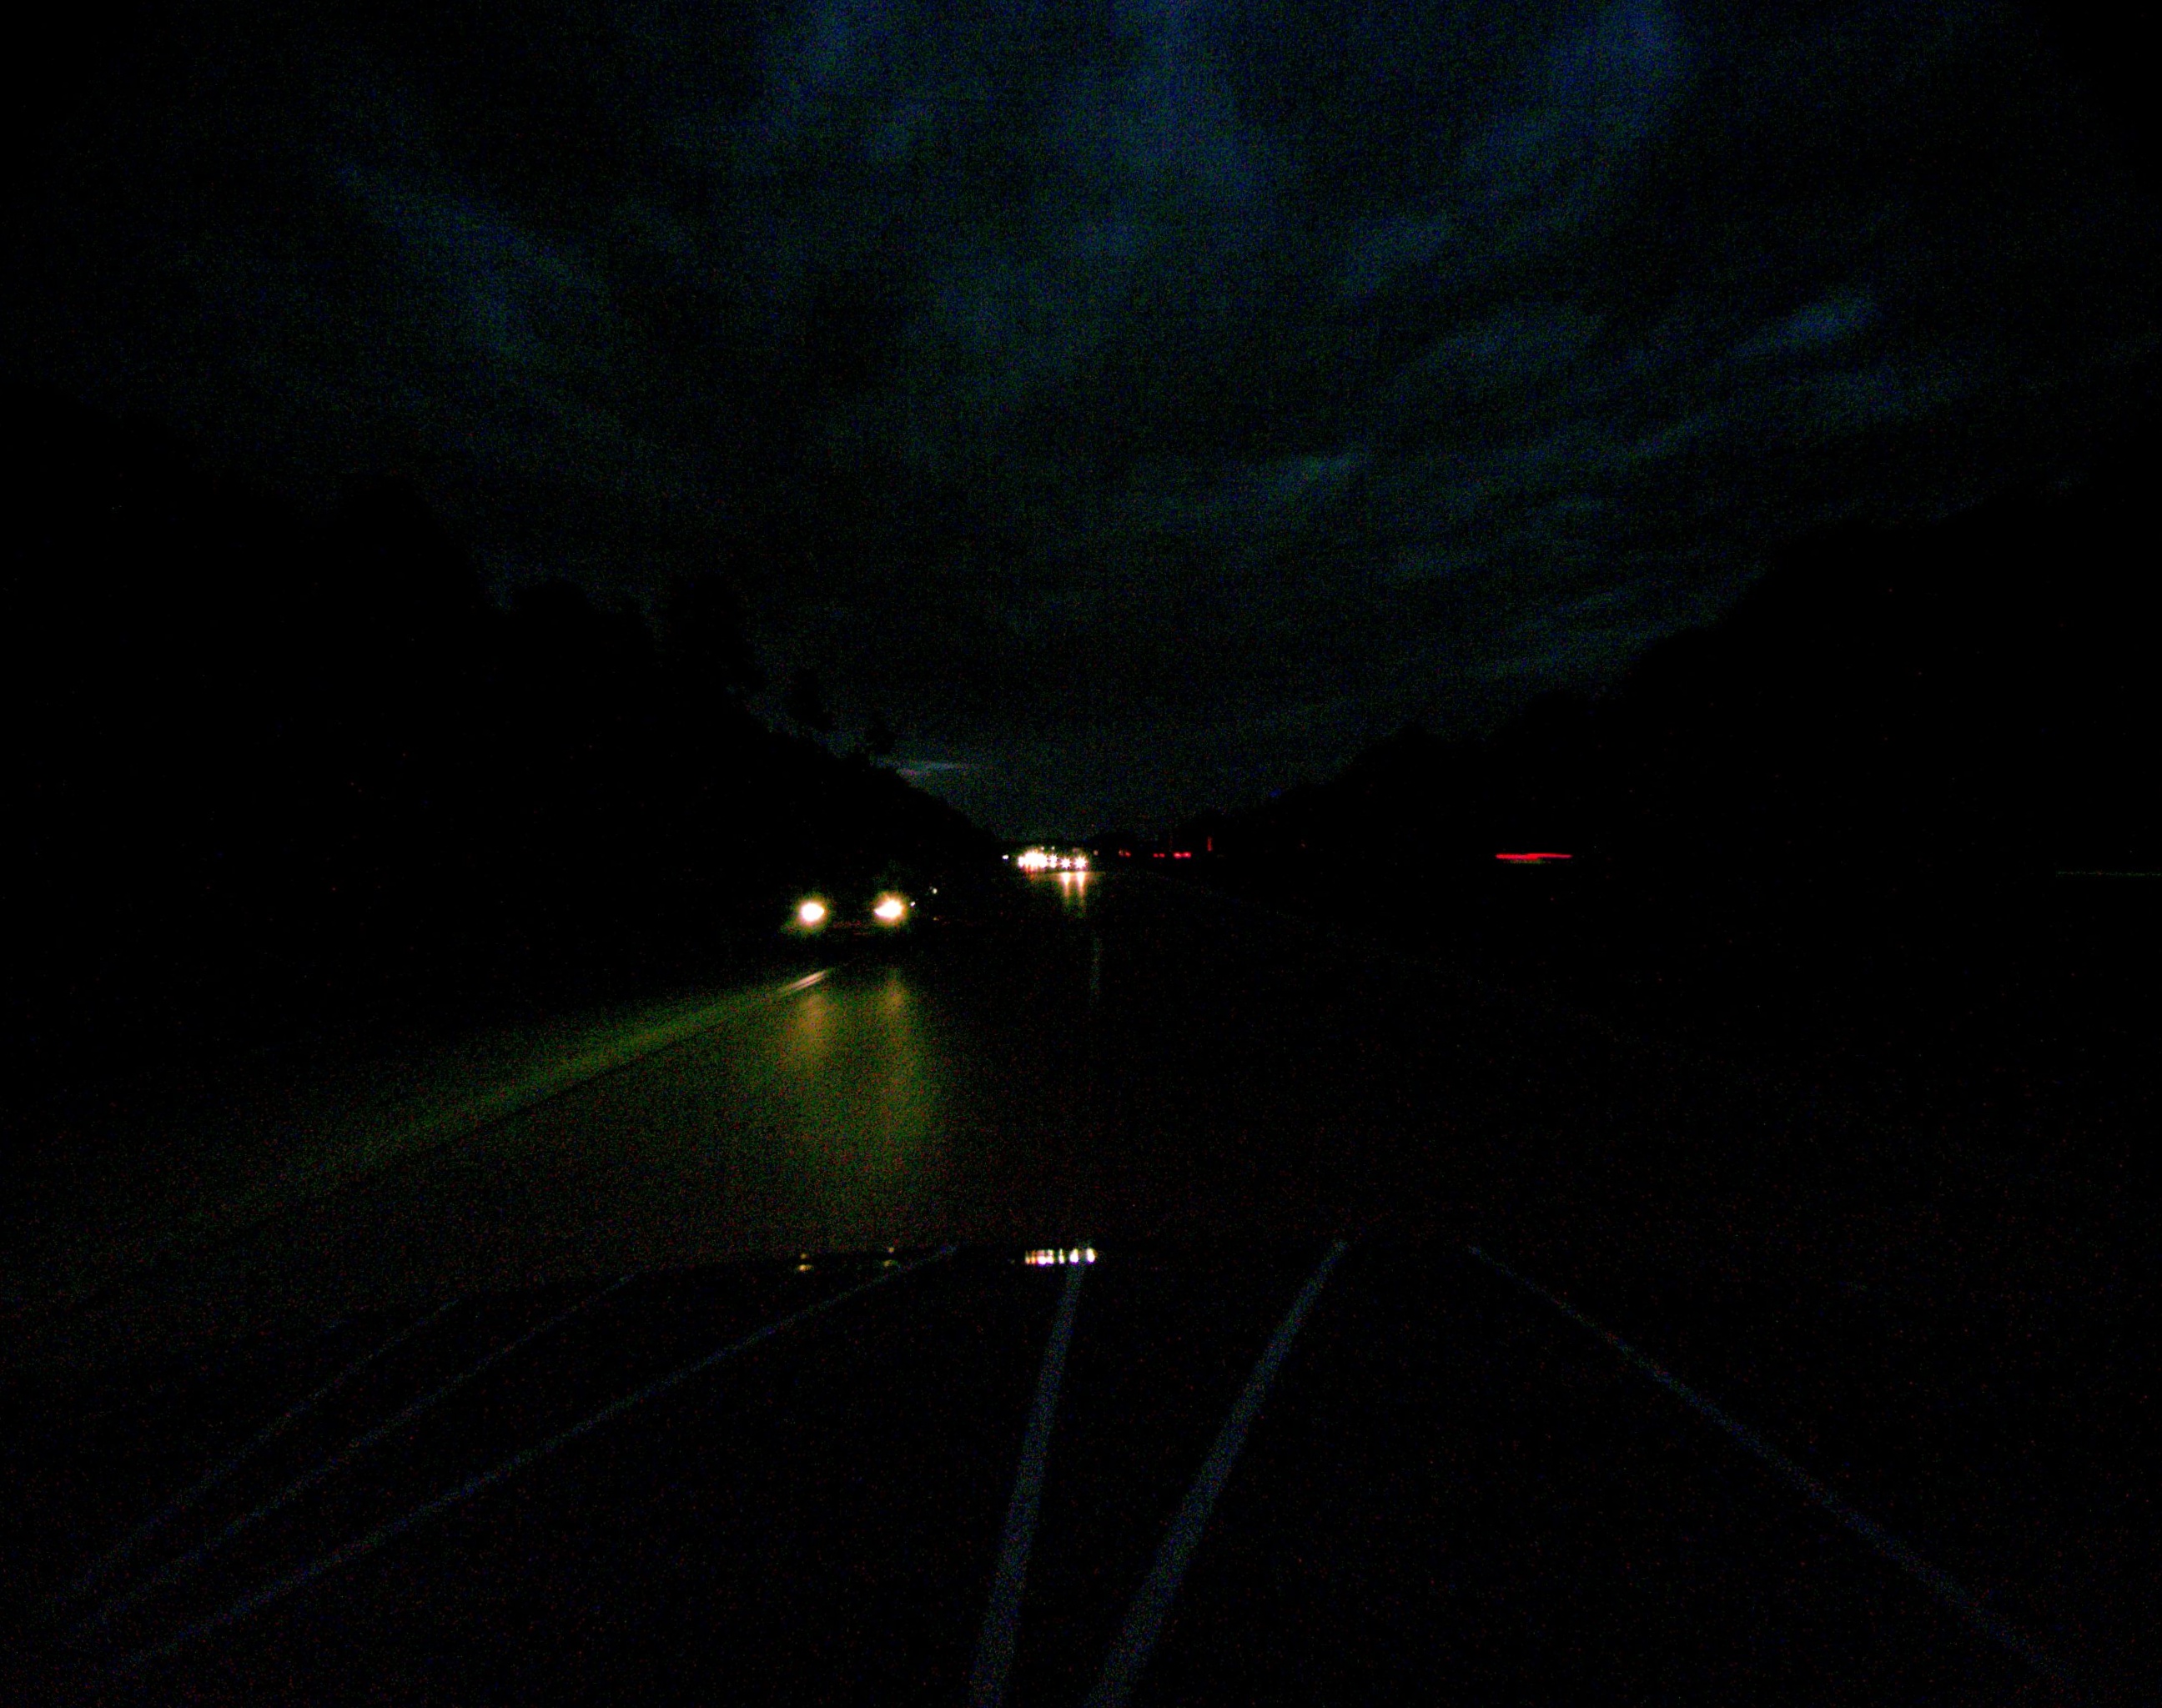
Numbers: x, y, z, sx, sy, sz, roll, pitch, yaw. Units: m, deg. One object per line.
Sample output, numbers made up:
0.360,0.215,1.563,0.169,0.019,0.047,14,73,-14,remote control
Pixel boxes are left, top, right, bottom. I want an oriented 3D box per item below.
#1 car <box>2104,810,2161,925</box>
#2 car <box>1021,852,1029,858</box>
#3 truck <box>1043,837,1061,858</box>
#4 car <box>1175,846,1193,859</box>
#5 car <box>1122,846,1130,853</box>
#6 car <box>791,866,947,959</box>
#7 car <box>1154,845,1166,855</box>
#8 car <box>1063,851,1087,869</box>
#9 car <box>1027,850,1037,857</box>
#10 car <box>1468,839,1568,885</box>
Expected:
17.777,0.189,10.280,1.998,1.787,4.372,-2,0,0,car
-15.175,0.180,206.556,1.998,1.539,4.000,-2,0,0,car
-5.820,-1.250,154.417,3.145,3.987,10.543,-2,0,0,truck
15.119,-0.175,111.786,1.998,1.787,4.206,-2,0,0,car
13.532,-1.381,230.944,1.999,2.213,4.372,-2,0,-2,car
-3.960,1.021,15.005,1.880,1.435,4.450,-2,0,-1,car
17.402,-0.853,168.145,1.999,2.142,4.372,-2,0,-2,car
-0.540,0.564,72.019,1.998,1.539,4.000,-2,0,2,car
-11.315,-0.024,174.212,1.998,1.539,4.000,-2,0,0,car
18.936,0.317,33.138,1.998,1.787,4.206,-2,0,2,car
